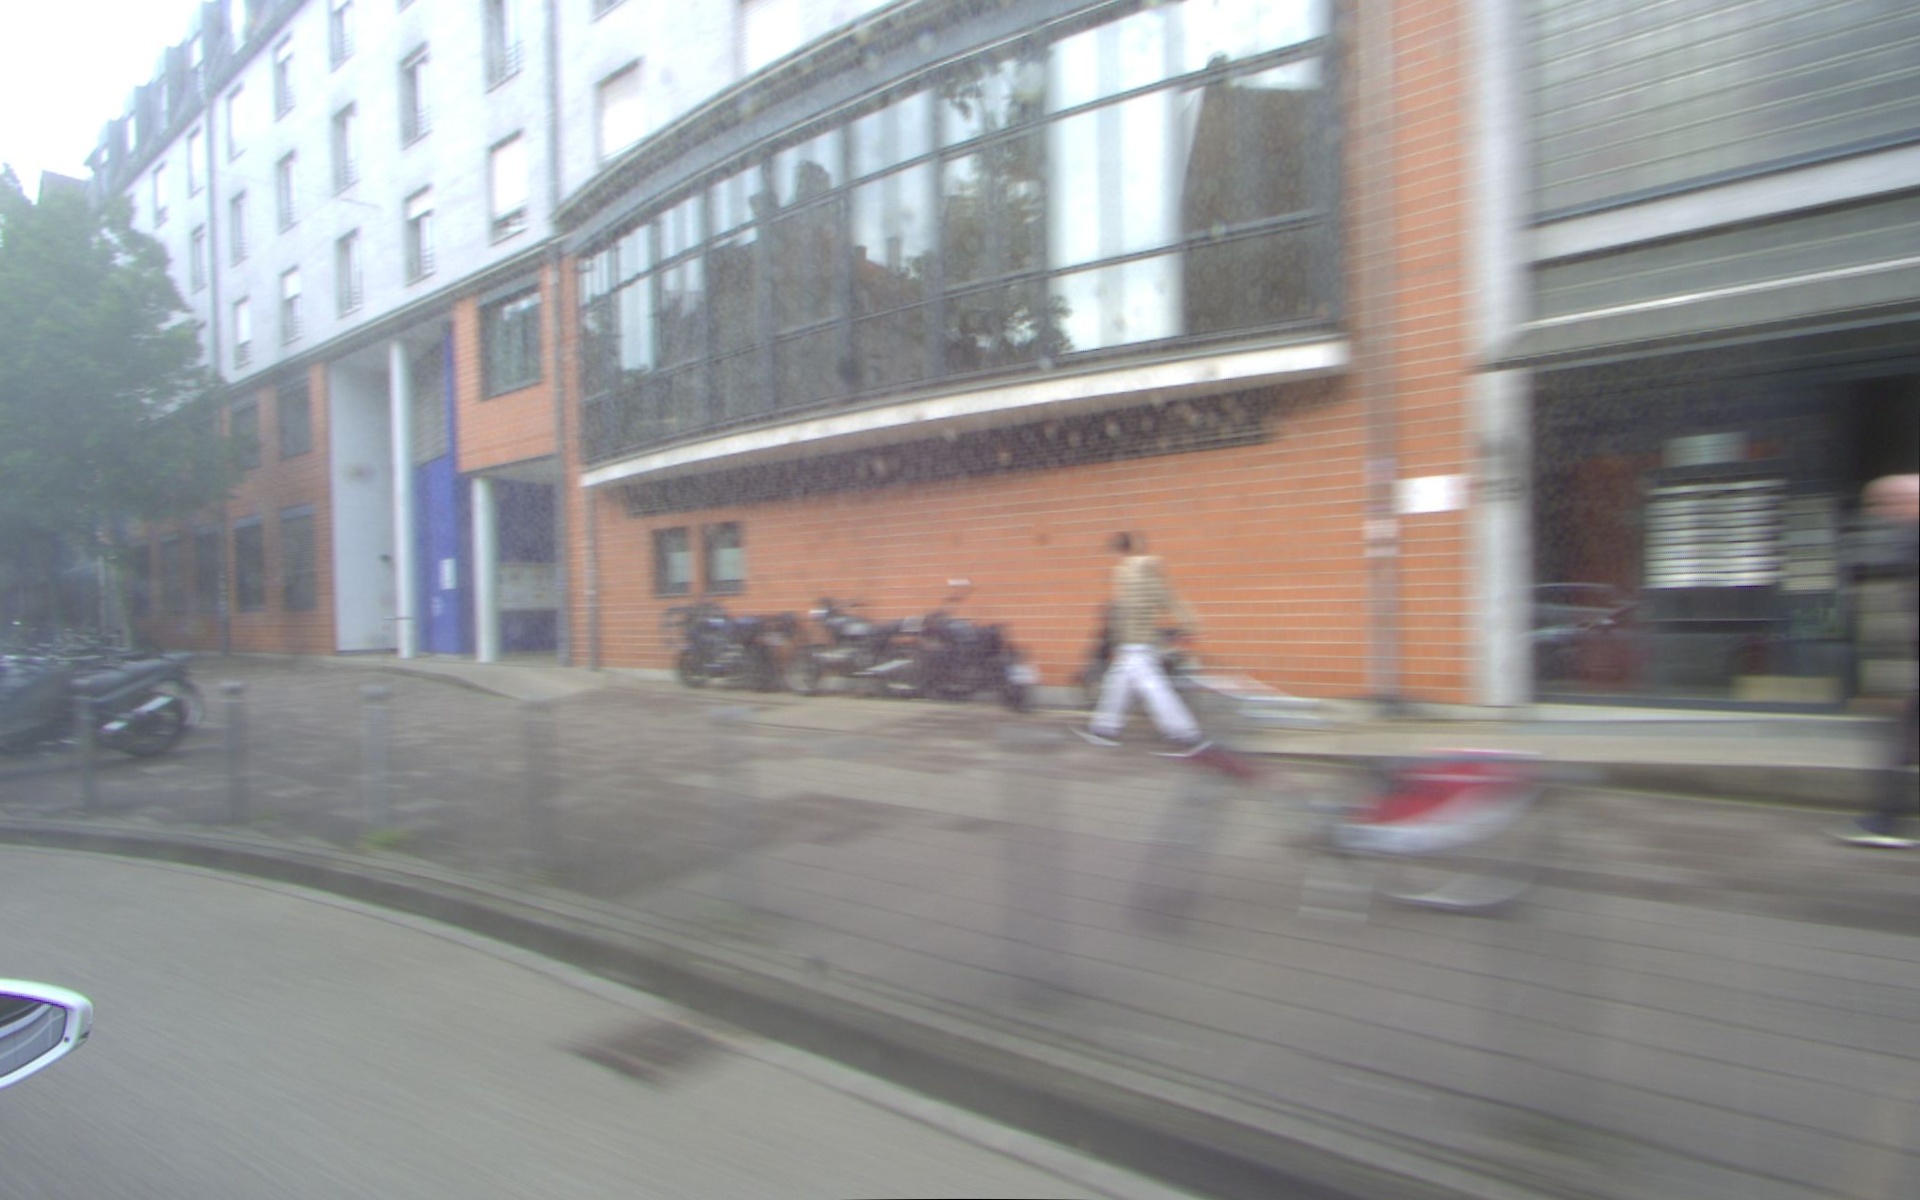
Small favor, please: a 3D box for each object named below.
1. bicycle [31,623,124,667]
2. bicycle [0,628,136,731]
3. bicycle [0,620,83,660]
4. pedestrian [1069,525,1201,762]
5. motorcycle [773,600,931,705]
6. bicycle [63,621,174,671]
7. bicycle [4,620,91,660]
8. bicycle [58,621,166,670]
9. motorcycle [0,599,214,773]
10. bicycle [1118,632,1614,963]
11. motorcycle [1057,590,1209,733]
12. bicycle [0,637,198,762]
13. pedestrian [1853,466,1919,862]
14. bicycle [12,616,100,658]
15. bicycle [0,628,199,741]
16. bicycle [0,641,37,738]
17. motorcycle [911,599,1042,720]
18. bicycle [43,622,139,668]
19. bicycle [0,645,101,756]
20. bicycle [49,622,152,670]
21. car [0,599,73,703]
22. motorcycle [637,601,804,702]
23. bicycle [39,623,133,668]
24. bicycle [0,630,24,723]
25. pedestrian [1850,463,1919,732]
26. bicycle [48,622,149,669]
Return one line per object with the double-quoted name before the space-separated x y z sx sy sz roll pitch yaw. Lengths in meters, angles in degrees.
"bicycle" -23.036 1.165 26.163 0.558 1.106 1.746 -2 -1 37
"bicycle" -11.394 0.965 12.268 0.604 1.156 1.877 -2 0 35
"bicycle" -26.561 1.139 28.934 0.558 1.106 1.746 -2 -1 37
"pedestrian" 1.400 0.316 7.966 0.800 1.778 0.627 0 4 35
"motorcycle" -1.333 0.604 12.096 2.045 1.159 0.598 -1 1 39
"bicycle" -19.770 1.058 23.562 0.570 1.106 1.926 -2 -1 37
"bicycle" -25.966 1.128 28.516 0.558 1.106 1.746 -2 -1 37
"bicycle" -20.241 1.079 23.930 0.536 1.106 1.888 -2 -1 37
"motorcycle" -8.204 0.749 9.087 0.760 1.448 2.127 -2 0 35
"bicycle" 1.571 0.737 4.059 1.703 1.119 0.729 -2 2 -3
"motorcycle" 1.619 0.532 9.587 0.594 1.210 1.558 -2 3 -29
"bicycle" -8.877 0.966 9.910 0.604 1.076 2.002 -2 0 35
"pedestrian" 4.621 0.279 4.712 0.534 1.795 0.640 -2 2 37
"bicycle" -25.274 1.027 28.012 0.558 1.106 1.746 -2 -1 37
"bicycle" -9.756 0.905 11.138 0.604 1.091 1.923 -2 0 35
"bicycle" -11.245 1.028 10.730 0.604 1.057 1.877 -2 0 35
"motorcycle" 0.131 0.580 10.690 0.593 1.159 1.874 -2 1 -26
"bicycle" -21.950 1.131 25.326 0.558 1.106 1.746 -2 -1 37
"bicycle" -9.847 1.030 9.906 0.604 1.057 1.923 -2 0 35
"bicycle" -20.900 1.108 24.383 0.536 1.106 1.829 -2 -1 37
"car" -16.110 0.869 14.846 1.827 1.600 4.284 -2 2 5
"motorcycle" -3.231 0.648 13.407 2.181 1.219 1.024 0 2 38
"bicycle" -22.534 1.164 25.835 0.558 1.106 1.746 -2 -1 37
"bicycle" -12.745 0.996 12.178 0.604 1.156 1.877 -2 0 35
"pedestrian" 6.479 -0.017 6.801 0.561 1.766 0.538 -2 -1 37
"bicycle" -21.443 1.126 24.965 0.558 1.106 1.829 -2 -1 37
